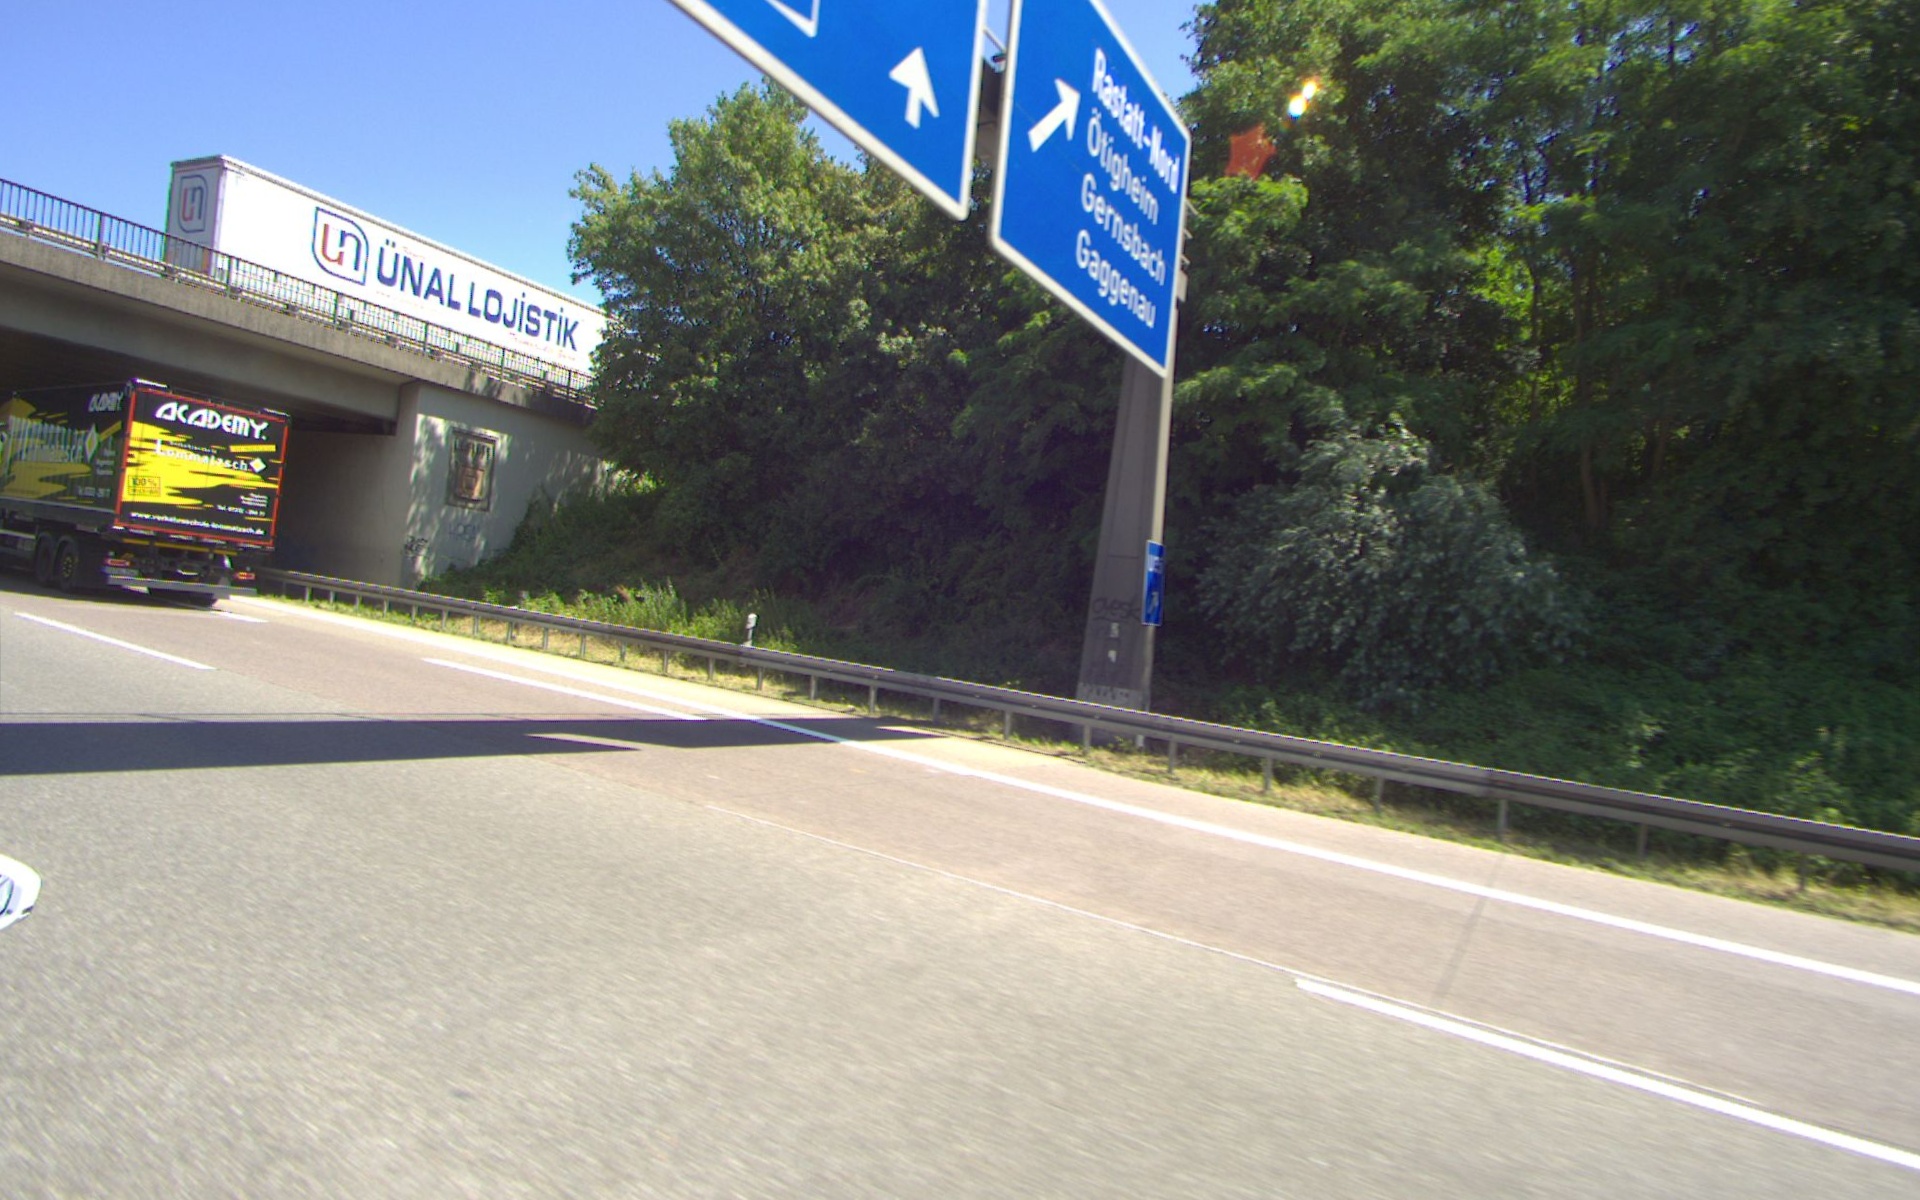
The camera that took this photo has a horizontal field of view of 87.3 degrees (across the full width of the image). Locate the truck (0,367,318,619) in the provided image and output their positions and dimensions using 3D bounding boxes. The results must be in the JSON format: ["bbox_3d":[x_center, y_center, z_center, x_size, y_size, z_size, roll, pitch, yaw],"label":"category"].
[{"bbox_3d":[-18.194,-2.266,21.630,10.807,4.082,2.980,6,-3,34],"label":"truck"}]

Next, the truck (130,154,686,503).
[{"bbox_3d":[-16.026,-7.476,32.592,3.119,5.629,16.512,6,-2,27],"label":"truck"}]
